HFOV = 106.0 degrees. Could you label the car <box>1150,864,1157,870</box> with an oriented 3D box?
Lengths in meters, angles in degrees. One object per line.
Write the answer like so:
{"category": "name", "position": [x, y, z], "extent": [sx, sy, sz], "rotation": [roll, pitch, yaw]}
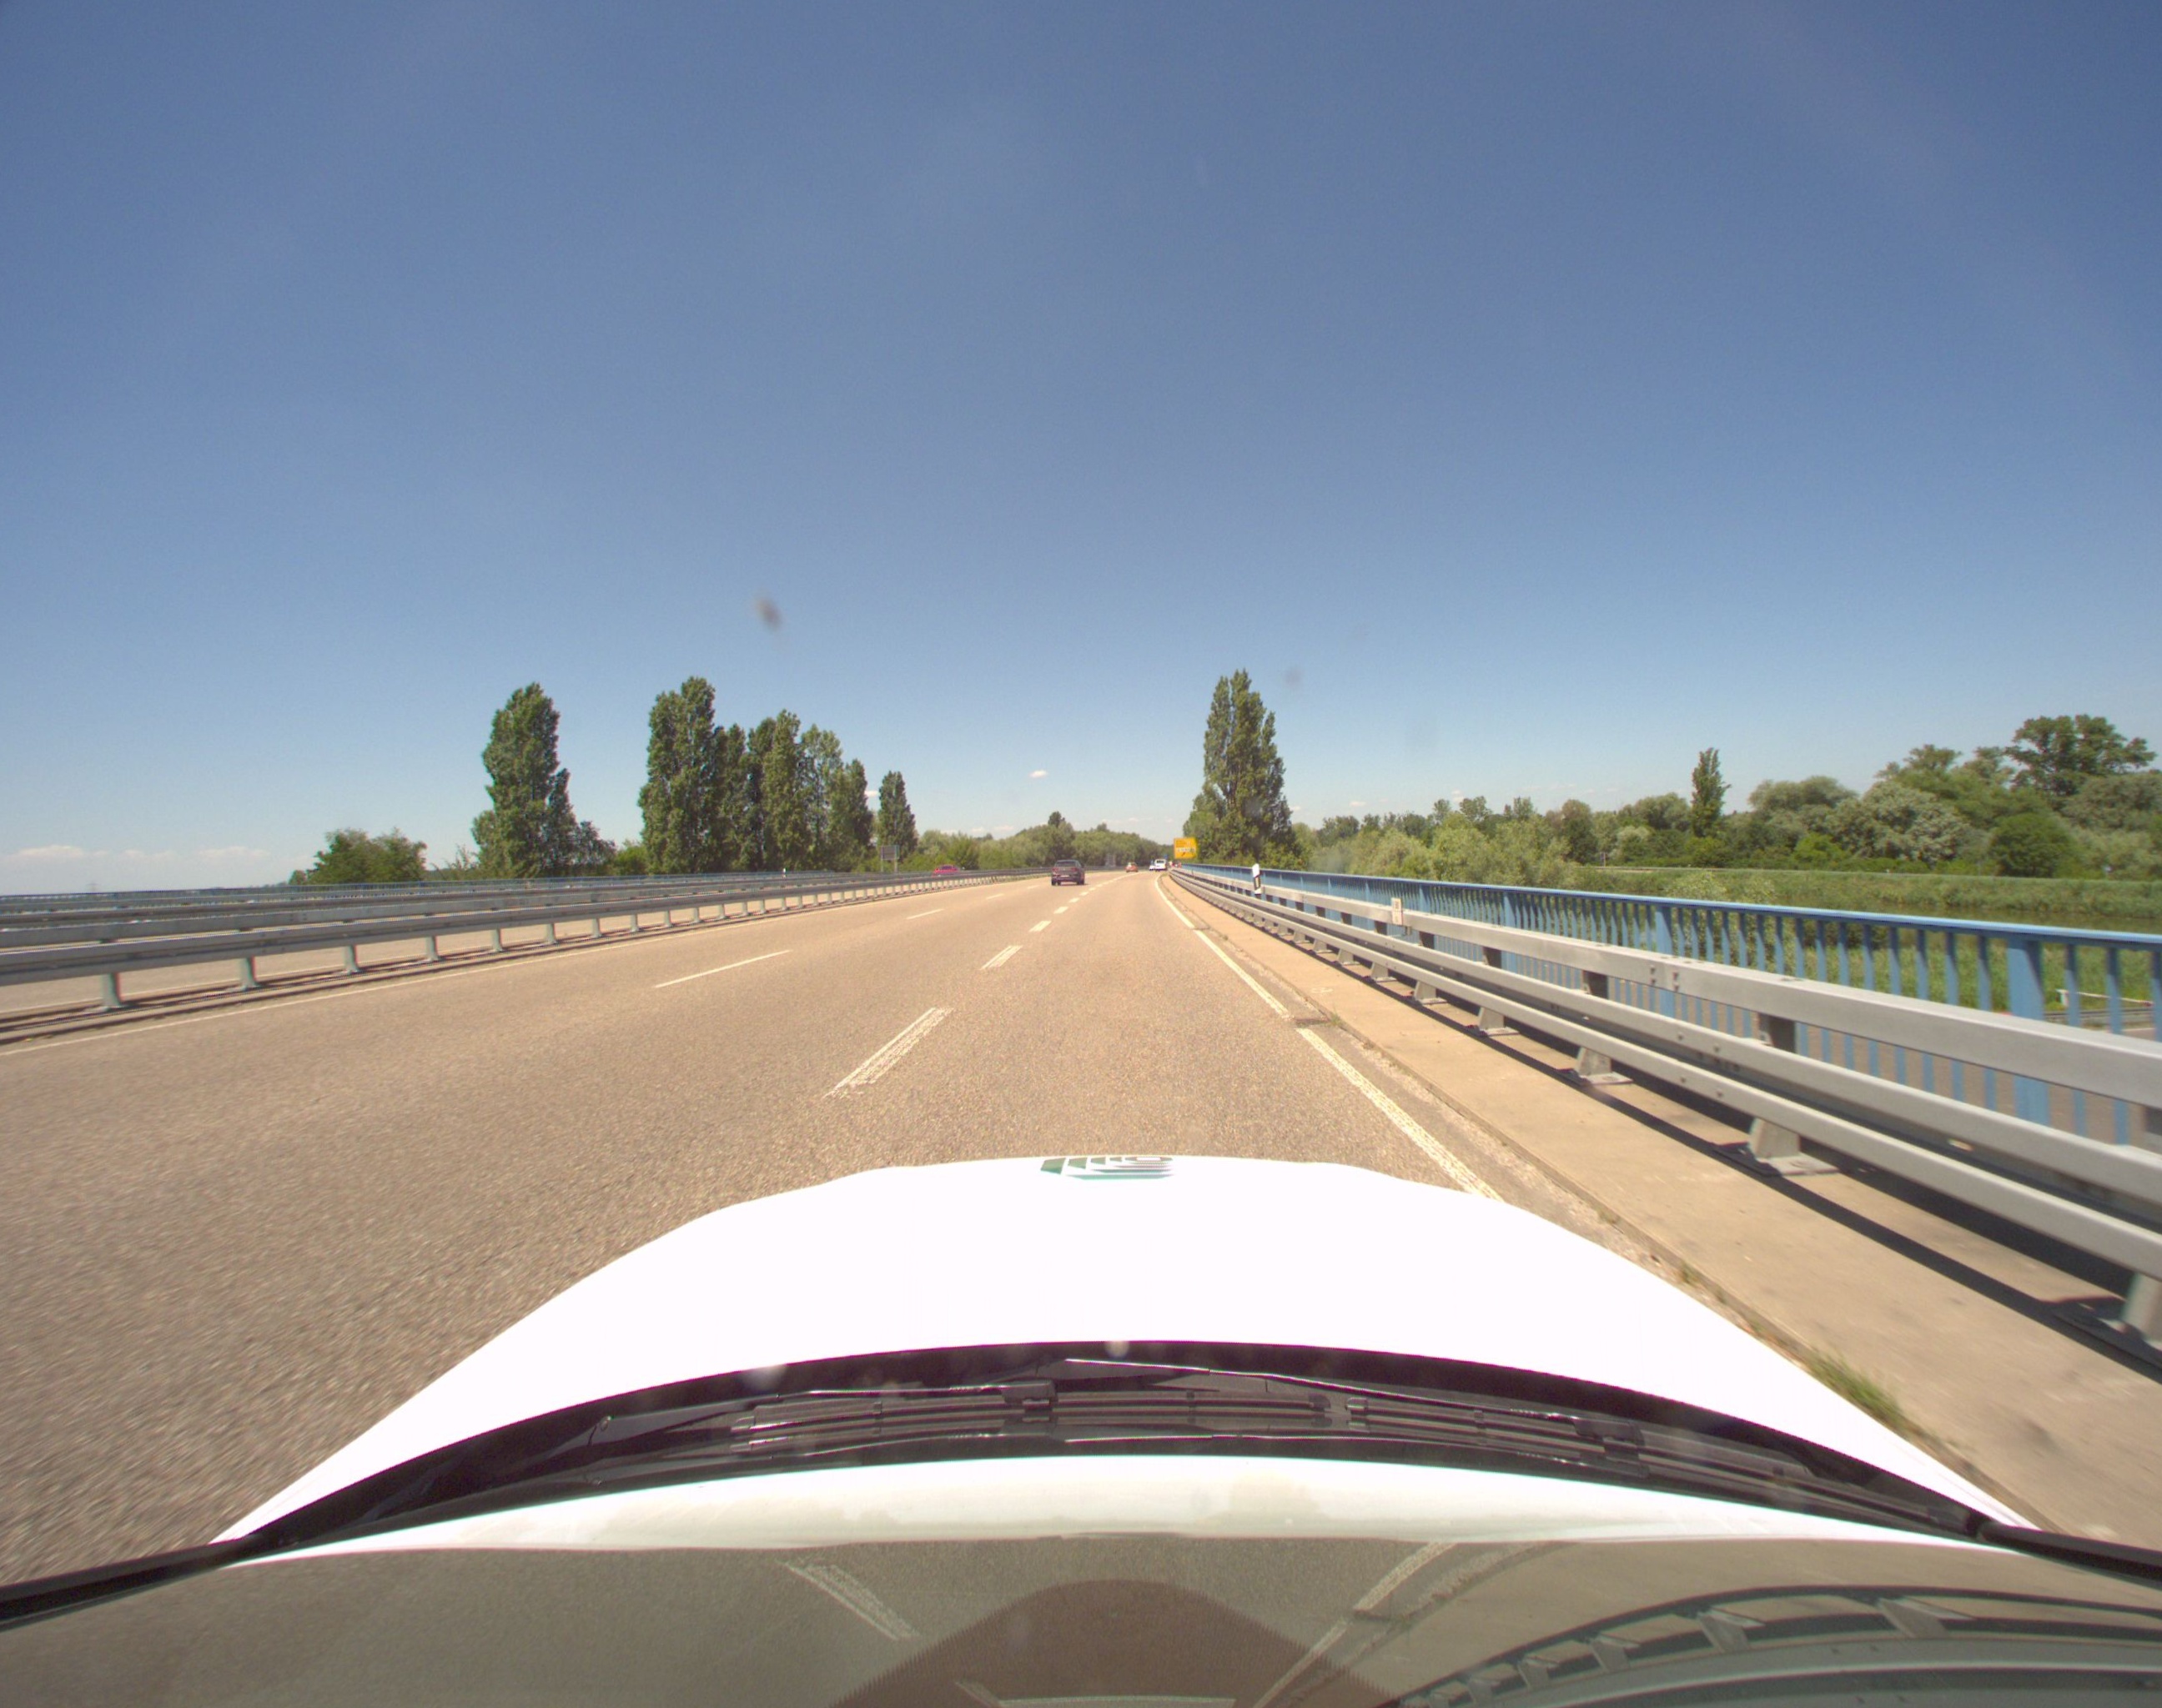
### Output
{"category": "car", "position": [17.421, 3.103, 196.036], "extent": [1.832, 1.451, 4.005], "rotation": [0, 0, 5]}

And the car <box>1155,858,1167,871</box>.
{"category": "car", "position": [12.866, 1.677, 131.001], "extent": [1.832, 1.895, 4.006], "rotation": [0, 0, 5]}

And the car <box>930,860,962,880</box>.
{"category": "car", "position": [-12.497, 1.483, 75.779], "extent": [1.835, 1.668, 5.055], "rotation": [-2, -1, 3]}

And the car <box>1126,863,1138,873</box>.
{"category": "car", "position": [7.937, 2.117, 126.825], "extent": [1.833, 1.464, 4.004], "rotation": [0, 0, 3]}

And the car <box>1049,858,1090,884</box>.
{"category": "car", "position": [-0.668, 1.039, 50.986], "extent": [1.830, 1.530, 4.481], "rotation": [0, 0, 9]}
